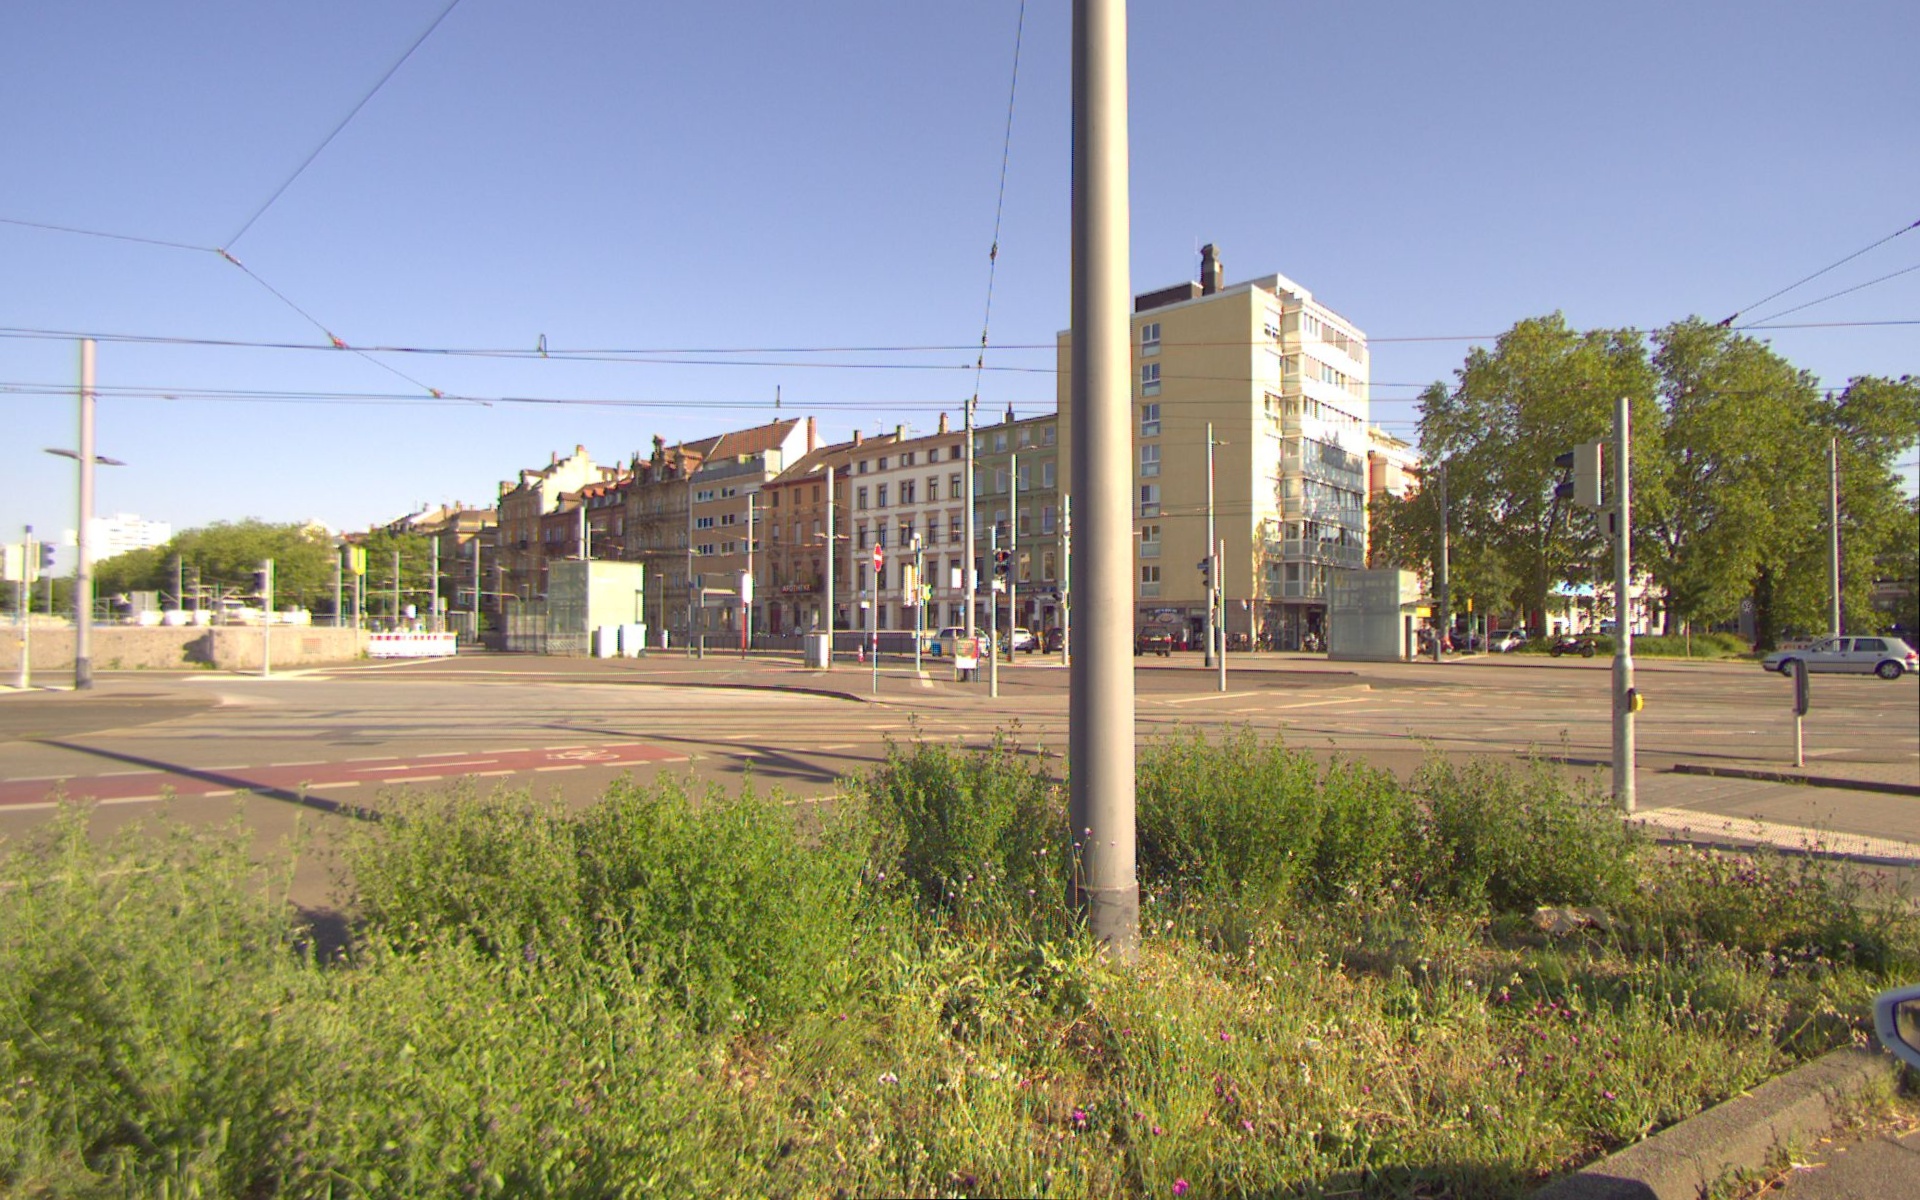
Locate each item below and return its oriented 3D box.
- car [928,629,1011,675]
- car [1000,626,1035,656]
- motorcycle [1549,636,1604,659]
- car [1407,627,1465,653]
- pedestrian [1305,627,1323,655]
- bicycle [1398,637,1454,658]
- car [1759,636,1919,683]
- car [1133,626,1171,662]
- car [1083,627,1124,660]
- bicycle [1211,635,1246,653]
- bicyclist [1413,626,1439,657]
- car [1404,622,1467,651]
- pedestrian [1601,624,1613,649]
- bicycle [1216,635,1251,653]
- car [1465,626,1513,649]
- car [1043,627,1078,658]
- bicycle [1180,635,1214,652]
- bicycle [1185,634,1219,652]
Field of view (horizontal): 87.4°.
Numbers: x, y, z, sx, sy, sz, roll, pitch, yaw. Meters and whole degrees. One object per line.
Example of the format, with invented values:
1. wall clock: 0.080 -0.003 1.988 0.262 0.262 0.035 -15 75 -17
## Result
1. car: 0.452 2.523 49.601 3.692 2.040 1.990 -1 0 41
2. car: 3.666 2.618 64.413 2.045 1.742 4.010 -1 0 1
3. motorcycle: 30.841 2.350 50.271 0.682 1.068 2.263 -1 0 -42
4. car: 36.133 3.010 76.288 3.925 1.882 1.851 -1 0 26
5. pedestrian: 22.121 2.557 62.778 0.767 1.698 0.778 -1 -2 43
6. bicycle: 23.850 2.428 51.446 0.957 1.016 2.414 2 -2 -45
7. car: 29.964 1.976 34.362 4.048 1.471 1.944 -1 -2 41
8. car: 10.987 2.510 57.783 1.815 1.882 4.002 -1 0 6
9. car: 8.516 2.548 59.746 1.803 1.771 3.999 -1 0 -1
10. bicycle: 16.873 2.772 63.229 2.019 1.104 0.773 -1 -2 42
11. bicyclist: 23.861 2.112 51.441 0.914 1.580 0.957 -1 -2 45
12. car: 33.661 2.569 71.159 3.925 2.040 1.998 0 -2 26
13. pedestrian: 52.320 2.946 81.214 0.702 2.040 0.586 1 -1 -30
14. bicycle: 17.386 2.765 63.903 2.019 1.104 0.773 -1 -2 42
15. car: 35.068 2.472 66.573 1.827 1.471 3.976 0 -2 44
16. car: 6.142 2.590 61.900 1.803 1.742 4.000 -1 0 1
17. bicycle: 15.257 2.791 64.660 2.019 1.104 0.773 -1 -2 42
18. bicycle: 15.758 2.784 65.376 2.019 1.104 0.773 -1 -2 42
